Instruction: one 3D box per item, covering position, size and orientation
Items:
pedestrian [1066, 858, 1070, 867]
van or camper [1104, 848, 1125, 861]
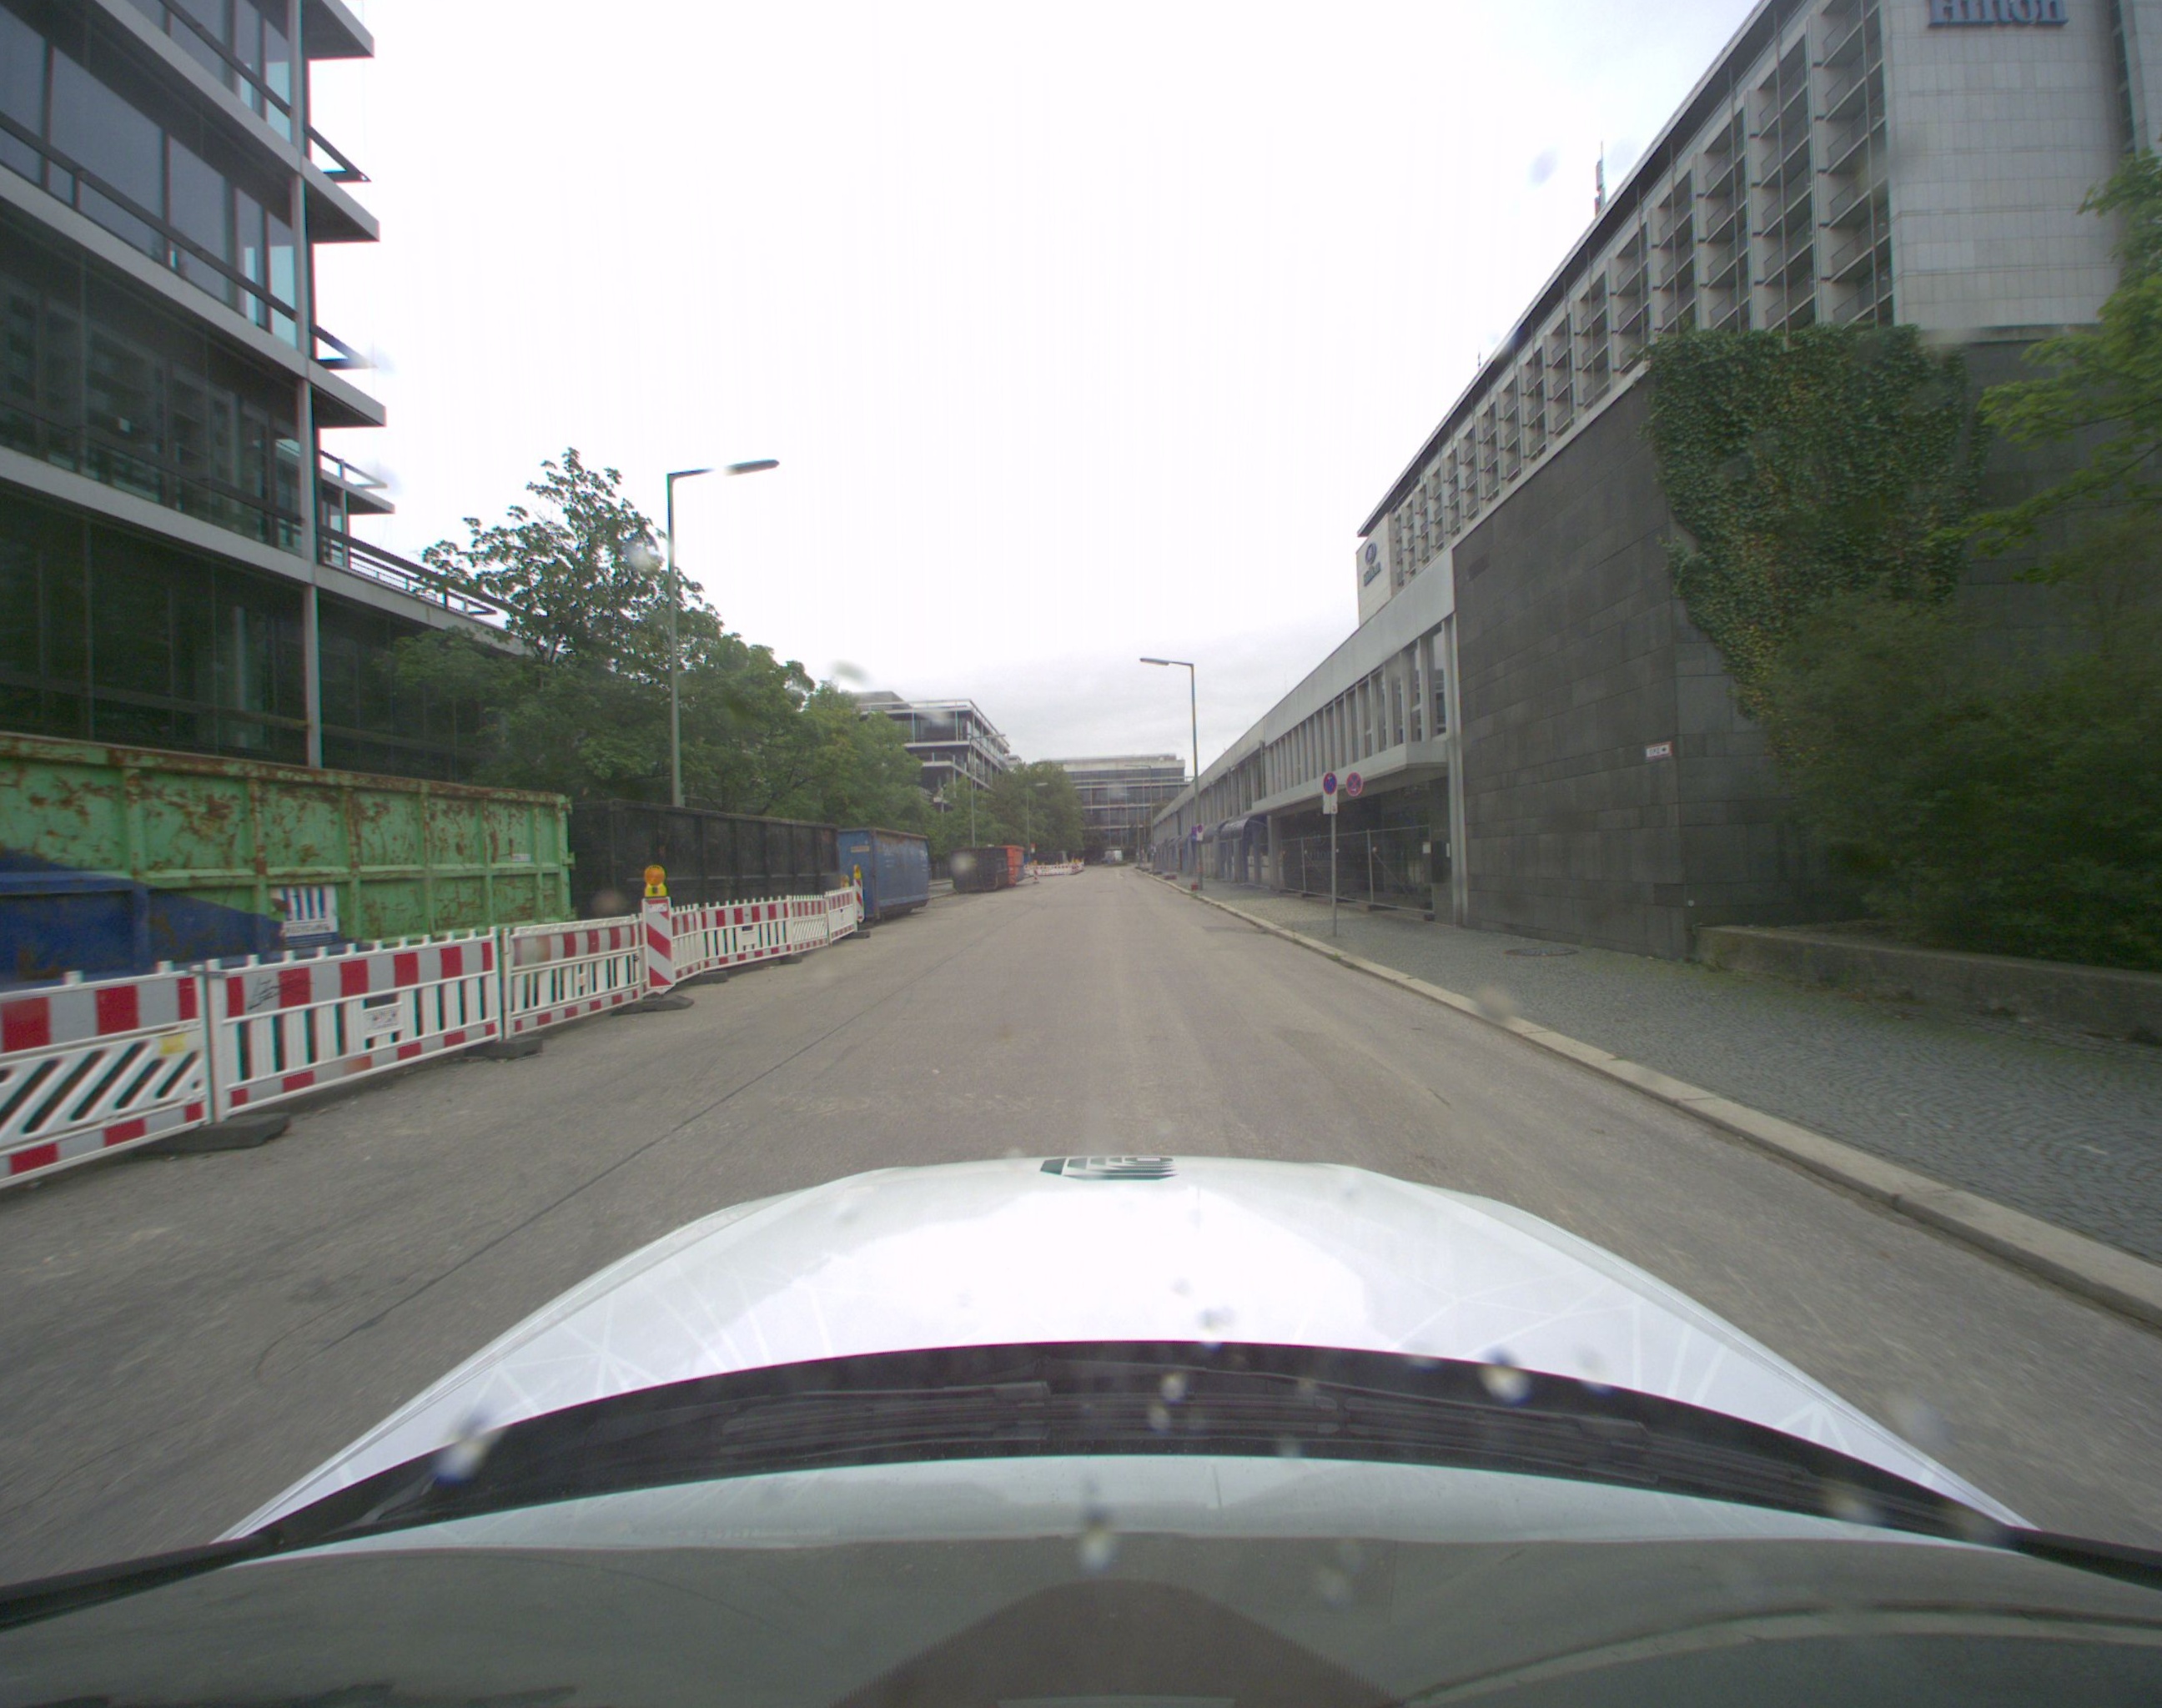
[{"bbox_3d":[-2.636,1.749,163.382,0.743,1.677,0.678,-1,-1,-18],"label":"pedestrian"},{"bbox_3d":[6.726,0.188,164.357,2.095,2.492,5.027,-1,0,-23],"label":"van or camper"}]
